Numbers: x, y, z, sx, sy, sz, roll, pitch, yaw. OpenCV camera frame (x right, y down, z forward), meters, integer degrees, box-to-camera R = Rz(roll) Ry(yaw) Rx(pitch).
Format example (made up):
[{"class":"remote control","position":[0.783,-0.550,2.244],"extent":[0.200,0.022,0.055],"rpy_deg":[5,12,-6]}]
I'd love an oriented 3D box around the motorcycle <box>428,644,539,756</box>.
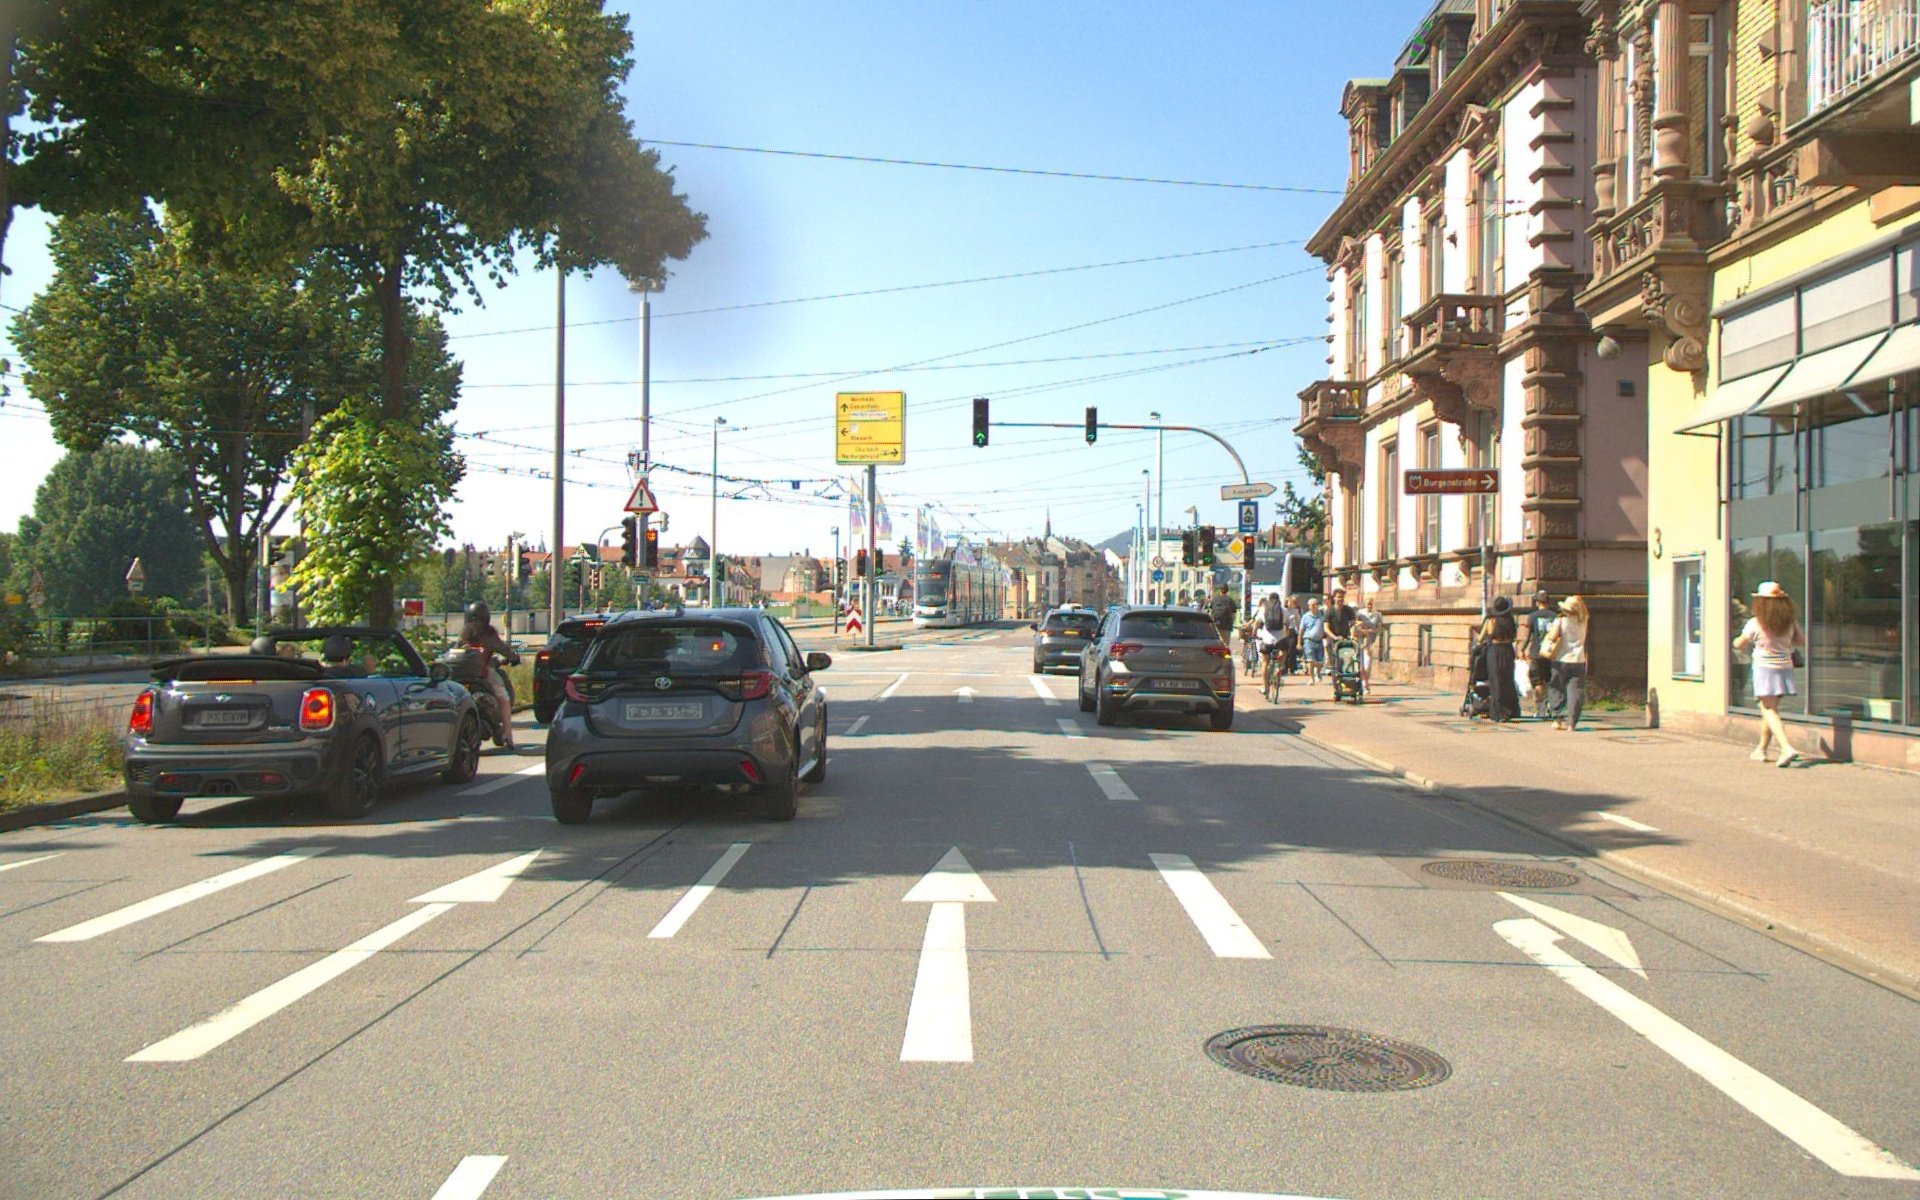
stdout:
[{"class":"motorcycle","position":[-5.129,1.050,17.903],"extent":[0.684,1.082,1.909],"rpy_deg":[-1,0,-2]}]

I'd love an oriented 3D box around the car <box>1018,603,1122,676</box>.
[{"class":"car","position":[2.485,0.898,38.305],"extent":[1.953,1.519,3.998],"rpy_deg":[3,-1,-2]}]

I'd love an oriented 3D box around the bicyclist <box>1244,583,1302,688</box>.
[{"class":"bicyclist","position":[4.981,0.564,26.354],"extent":[0.674,1.604,1.049],"rpy_deg":[3,-1,0]}]

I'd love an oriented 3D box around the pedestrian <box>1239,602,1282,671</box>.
[{"class":"pedestrian","position":[7.438,0.903,41.003],"extent":[0.845,1.669,0.875],"rpy_deg":[3,-1,-1]}]

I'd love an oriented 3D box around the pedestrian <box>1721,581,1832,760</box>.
[{"class":"pedestrian","position":[7.740,0.651,15.704],"extent":[0.641,1.649,0.815],"rpy_deg":[0,0,-1]}]

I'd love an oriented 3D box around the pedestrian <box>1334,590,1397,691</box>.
[{"class":"pedestrian","position":[6.832,0.679,27.929],"extent":[0.845,1.669,0.875],"rpy_deg":[0,0,-1]}]

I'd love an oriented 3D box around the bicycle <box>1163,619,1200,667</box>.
[{"class":"bicycle","position":[5.415,1.037,40.457],"extent":[0.719,1.112,1.898],"rpy_deg":[3,-1,3]}]

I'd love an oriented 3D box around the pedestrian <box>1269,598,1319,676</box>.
[{"class":"pedestrian","position":[7.330,0.814,36.351],"extent":[0.845,1.669,0.875],"rpy_deg":[3,-1,-1]}]

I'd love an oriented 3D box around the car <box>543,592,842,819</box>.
[{"class":"car","position":[-1.930,0.744,13.043],"extent":[1.741,1.501,3.999],"rpy_deg":[0,-1,-1]}]

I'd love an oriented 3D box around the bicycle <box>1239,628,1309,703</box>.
[{"class":"bicycle","position":[4.965,1.022,26.246],"extent":[0.719,1.112,1.897],"rpy_deg":[3,-1,0]}]

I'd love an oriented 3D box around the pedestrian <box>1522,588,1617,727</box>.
[{"class":"pedestrian","position":[7.483,0.690,20.340],"extent":[0.845,1.669,0.875],"rpy_deg":[0,0,-1]}]

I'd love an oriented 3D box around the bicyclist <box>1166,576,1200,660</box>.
[{"class":"bicyclist","position":[5.445,0.451,40.378],"extent":[0.674,1.996,0.778],"rpy_deg":[2,-1,3]}]

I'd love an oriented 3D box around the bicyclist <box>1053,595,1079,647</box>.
[{"class":"bicyclist","position":[3.387,0.664,52.868],"extent":[0.674,1.604,1.049],"rpy_deg":[3,-1,-1]}]

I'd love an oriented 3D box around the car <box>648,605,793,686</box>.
[{"class":"car","position":[-4.481,0.848,31.525],"extent":[1.995,1.355,4.000],"rpy_deg":[3,-1,2]}]

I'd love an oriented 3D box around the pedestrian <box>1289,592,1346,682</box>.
[{"class":"pedestrian","position":[6.881,0.712,31.883],"extent":[0.845,1.669,0.875],"rpy_deg":[3,-1,-1]}]

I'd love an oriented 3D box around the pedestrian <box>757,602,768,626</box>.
[{"class":"pedestrian","position":[-12.188,0.851,102.295],"extent":[0.546,1.440,0.636],"rpy_deg":[3,-1,-1]}]

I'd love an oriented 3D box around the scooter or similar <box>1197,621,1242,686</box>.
[{"class":"scooter or similar","position":[4.980,1.017,31.813],"extent":[0.674,1.188,1.464],"rpy_deg":[3,-1,3]}]

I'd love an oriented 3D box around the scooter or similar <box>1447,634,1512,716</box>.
[{"class":"scooter or similar","position":[7.074,1.010,22.559],"extent":[0.588,1.066,0.799],"rpy_deg":[3,-1,-1]}]

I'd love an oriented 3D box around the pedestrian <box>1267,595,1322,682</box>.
[{"class":"pedestrian","position":[6.638,0.759,32.863],"extent":[0.845,1.669,0.875],"rpy_deg":[3,-1,-1]}]

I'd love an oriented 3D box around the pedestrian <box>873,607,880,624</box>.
[{"class":"pedestrian","position":[-7.517,1.393,149.052],"extent":[0.546,1.440,0.636],"rpy_deg":[3,-1,-1]}]

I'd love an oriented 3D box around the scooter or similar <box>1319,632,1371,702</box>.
[{"class":"scooter or similar","position":[6.090,1.049,26.179],"extent":[0.588,1.066,0.799],"rpy_deg":[3,-1,-1]}]

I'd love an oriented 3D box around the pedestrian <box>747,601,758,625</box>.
[{"class":"pedestrian","position":[-12.841,0.820,102.297],"extent":[0.546,1.440,0.636],"rpy_deg":[3,-1,-1]}]

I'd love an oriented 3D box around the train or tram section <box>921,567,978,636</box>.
[{"class":"train or tram section","position":[-0.527,0.116,98.026],"extent":[2.764,3.843,8.228],"rpy_deg":[3,0,3]}]

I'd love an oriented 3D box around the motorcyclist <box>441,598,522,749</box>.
[{"class":"motorcyclist","position":[-5.153,0.787,17.850],"extent":[0.675,1.583,0.717],"rpy_deg":[-1,-2,-2]}]

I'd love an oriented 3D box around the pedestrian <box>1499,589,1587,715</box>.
[{"class":"pedestrian","position":[8.035,0.707,22.835],"extent":[0.845,1.669,0.875],"rpy_deg":[3,-1,-1]}]

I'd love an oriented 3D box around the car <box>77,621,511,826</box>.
[{"class":"car","position":[-5.153,0.893,13.428],"extent":[1.778,1.355,4.000],"rpy_deg":[-2,-1,2]}]

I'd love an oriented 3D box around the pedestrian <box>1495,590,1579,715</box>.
[{"class":"pedestrian","position":[7.848,0.700,22.528],"extent":[0.845,1.669,0.875],"rpy_deg":[0,0,-1]}]

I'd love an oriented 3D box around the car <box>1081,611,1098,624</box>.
[{"class":"car","position":[15.928,2.163,203.158],"extent":[1.820,1.533,4.000],"rpy_deg":[3,-1,2]}]

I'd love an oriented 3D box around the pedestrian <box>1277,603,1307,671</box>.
[{"class":"pedestrian","position":[8.330,0.923,41.504],"extent":[0.564,1.669,0.611],"rpy_deg":[3,-1,-1]}]

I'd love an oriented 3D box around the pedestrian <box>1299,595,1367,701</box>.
[{"class":"pedestrian","position":[6.054,0.775,26.887],"extent":[0.845,1.669,0.875],"rpy_deg":[3,-1,-1]}]

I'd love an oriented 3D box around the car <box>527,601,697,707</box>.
[{"class":"car","position":[-4.884,0.742,23.706],"extent":[1.421,1.323,4.000],"rpy_deg":[3,-1,2]}]

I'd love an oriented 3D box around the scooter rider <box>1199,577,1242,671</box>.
[{"class":"scooter rider","position":[5.022,0.465,31.874],"extent":[0.674,1.759,0.778],"rpy_deg":[2,-1,3]}]

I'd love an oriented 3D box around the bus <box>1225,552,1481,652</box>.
[{"class":"bus","position":[13.134,0.128,54.990],"extent":[8.519,2.825,2.950],"rpy_deg":[3,-1,-30]}]

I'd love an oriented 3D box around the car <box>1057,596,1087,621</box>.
[{"class":"car","position":[7.530,0.610,111.574],"extent":[1.820,1.533,4.000],"rpy_deg":[3,-1,2]}]

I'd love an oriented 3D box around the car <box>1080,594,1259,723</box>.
[{"class":"car","position":[2.737,0.759,22.470],"extent":[1.835,1.519,3.999],"rpy_deg":[3,-1,-1]}]

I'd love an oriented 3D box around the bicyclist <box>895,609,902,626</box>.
[{"class":"bicyclist","position":[-5.771,1.620,155.514],"extent":[0.546,1.563,0.743],"rpy_deg":[3,-1,-1]}]

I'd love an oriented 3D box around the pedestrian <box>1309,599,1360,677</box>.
[{"class":"pedestrian","position":[8.229,0.830,36.377],"extent":[0.845,1.669,0.875],"rpy_deg":[3,-1,-1]}]

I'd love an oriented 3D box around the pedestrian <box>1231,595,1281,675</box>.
[{"class":"pedestrian","position":[6.430,0.763,35.969],"extent":[0.845,1.669,0.875],"rpy_deg":[3,-1,-1]}]

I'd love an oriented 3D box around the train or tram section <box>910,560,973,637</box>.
[{"class":"train or tram section","position":[-0.905,-0.048,89.866],"extent":[2.764,3.843,8.228],"rpy_deg":[3,0,3]}]

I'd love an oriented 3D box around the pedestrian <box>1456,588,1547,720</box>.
[{"class":"pedestrian","position":[7.145,0.701,21.860],"extent":[0.845,1.669,0.875],"rpy_deg":[3,-1,-1]}]
